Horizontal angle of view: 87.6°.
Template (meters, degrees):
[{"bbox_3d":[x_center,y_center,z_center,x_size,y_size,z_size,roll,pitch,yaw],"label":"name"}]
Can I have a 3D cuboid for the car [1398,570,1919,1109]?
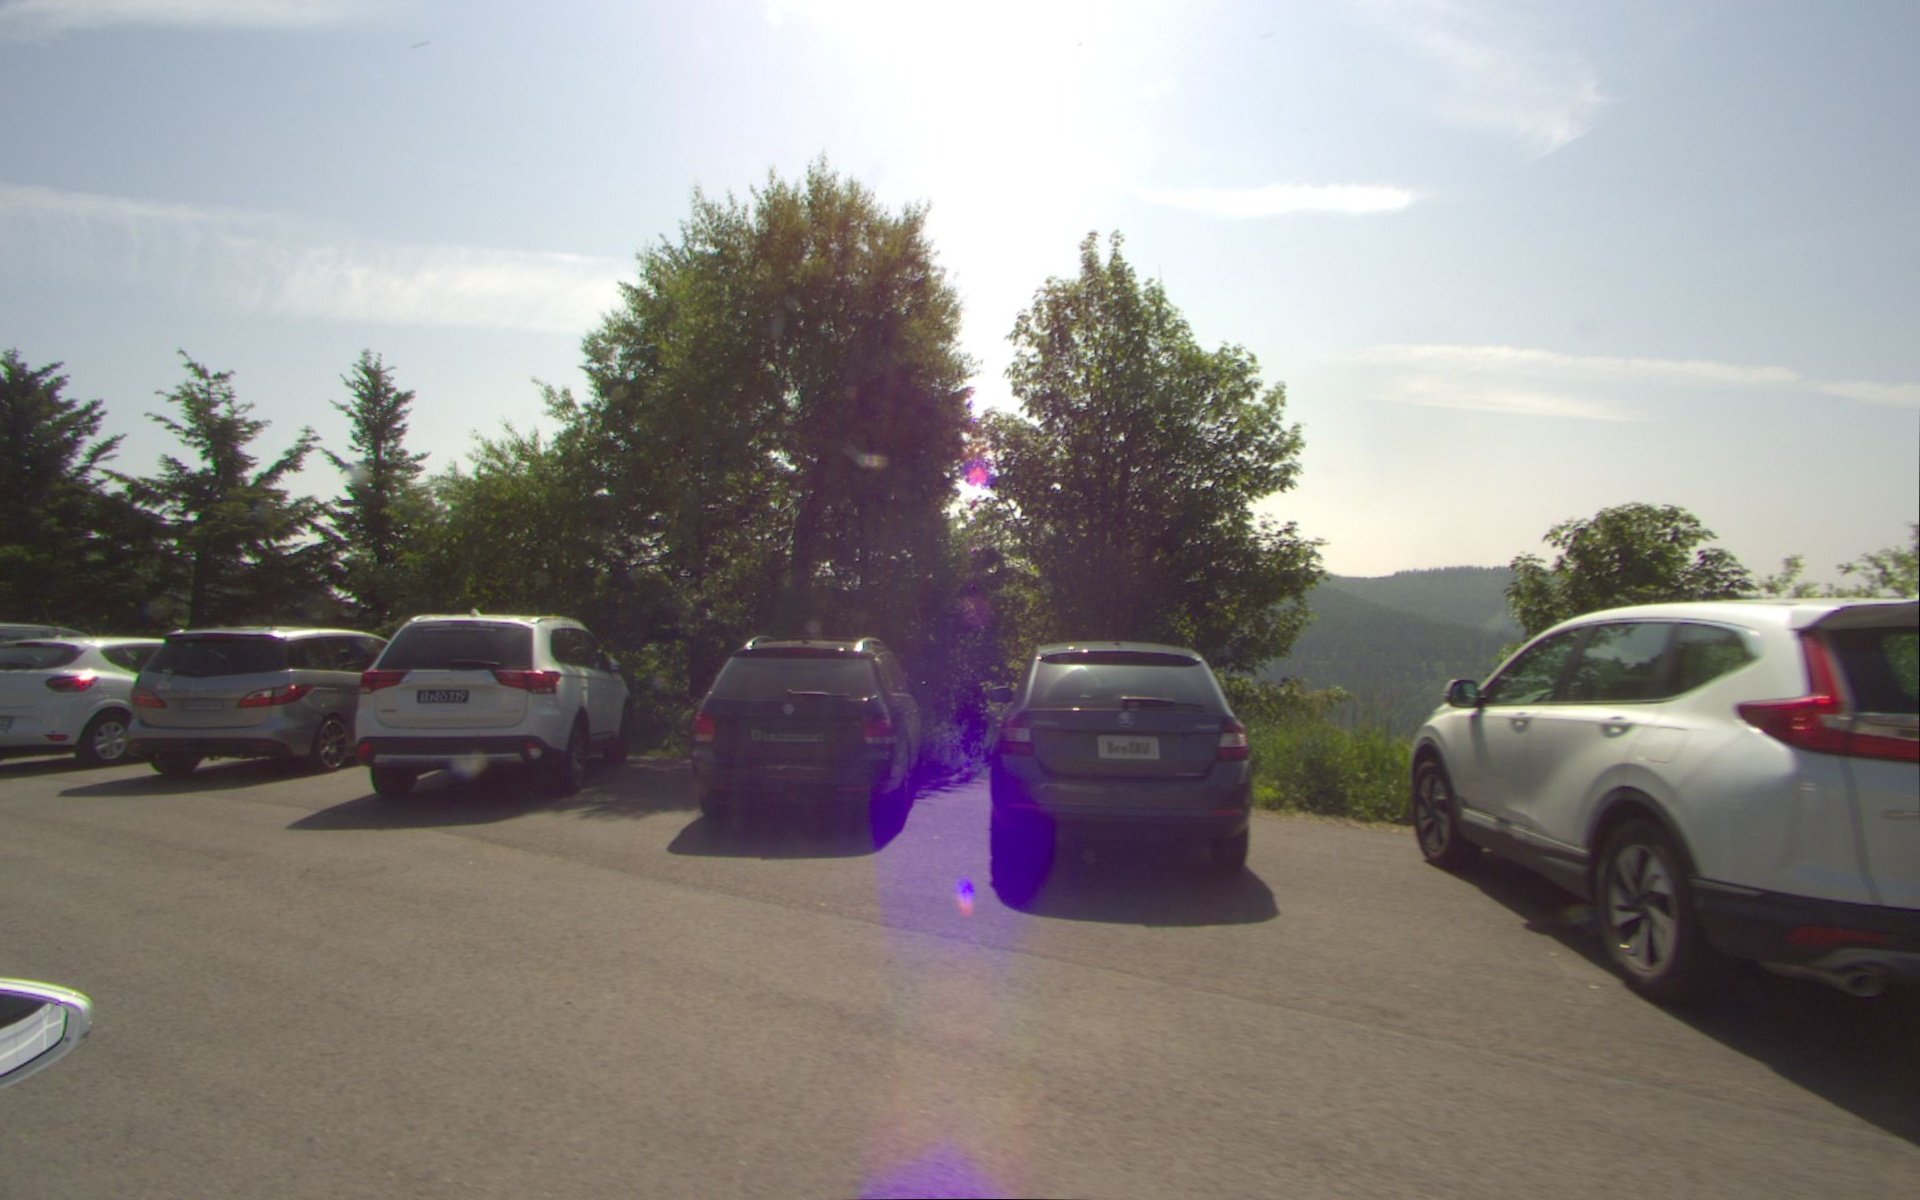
[{"bbox_3d":[3.838,0.859,5.115,1.855,1.670,4.188,0,-3,8],"label":"car"}]

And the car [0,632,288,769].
[{"bbox_3d":[-10.717,1.203,12.872,1.734,1.494,4.002,0,-3,-6],"label":"car"}]

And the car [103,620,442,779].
[{"bbox_3d":[-7.892,1.101,12.028,1.786,1.568,4.001,1,-3,-10],"label":"car"}]

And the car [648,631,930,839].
[{"bbox_3d":[-1.299,1.086,9.282,1.858,1.479,4.055,0,-3,1],"label":"car"}]

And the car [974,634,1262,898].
[{"bbox_3d":[1.078,1.048,7.681,1.630,1.477,3.809,1,-3,5],"label":"car"}]

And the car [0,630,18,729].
[{"bbox_3d":[-16.358,1.201,14.619,1.828,1.609,4.001,1,-3,-10],"label":"car"}]

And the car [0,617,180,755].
[{"bbox_3d":[-13.025,1.120,13.438,1.952,1.715,4.276,1,-3,-5],"label":"car"}]

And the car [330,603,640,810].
[{"bbox_3d":[-4.652,0.983,10.540,1.828,1.716,4.226,1,-2,-10],"label":"car"}]
